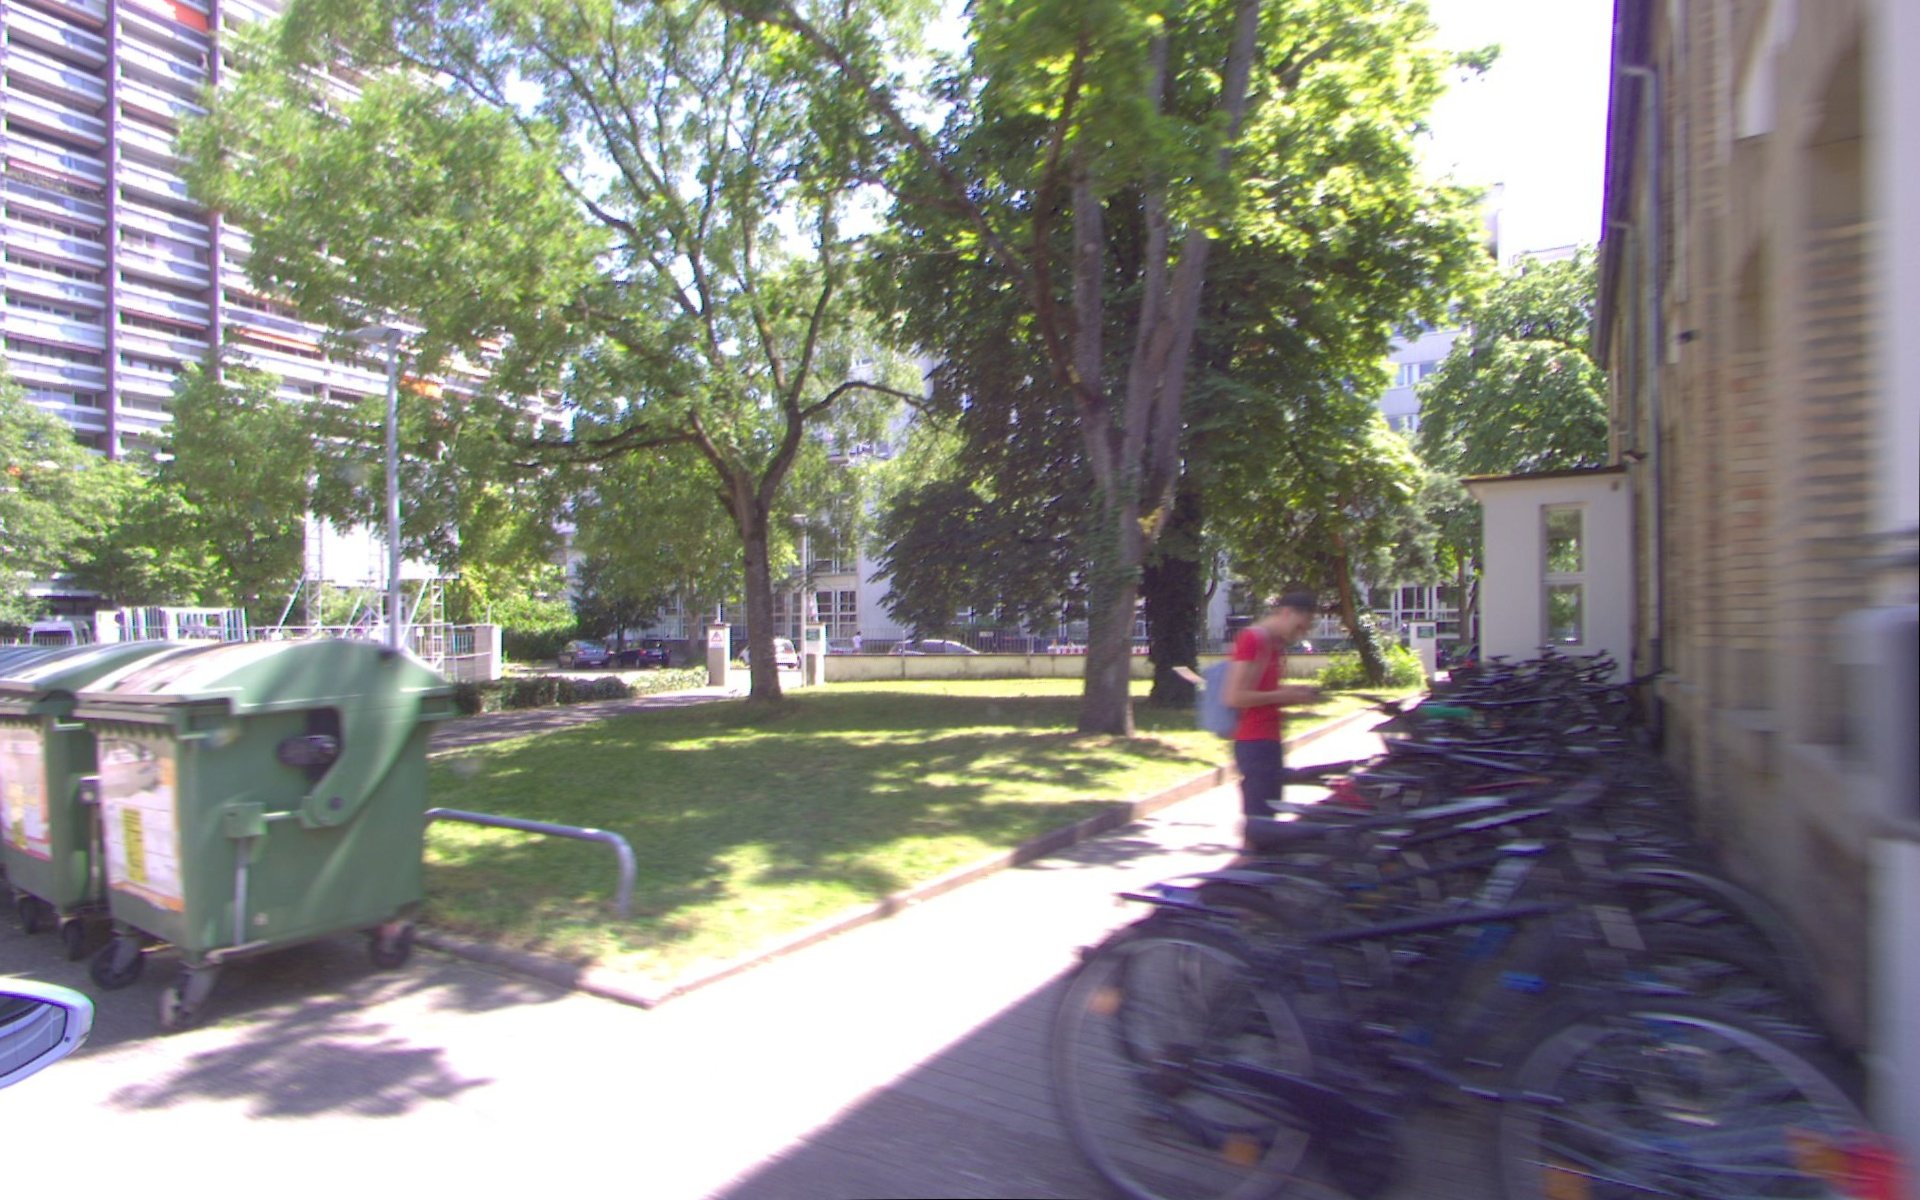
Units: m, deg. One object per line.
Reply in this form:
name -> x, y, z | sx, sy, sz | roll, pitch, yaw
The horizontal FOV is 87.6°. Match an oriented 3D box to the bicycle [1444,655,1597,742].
bicycle -> 7.663, 1.322, 13.738 | 1.801, 1.116, 0.404 | -2, -1, 33

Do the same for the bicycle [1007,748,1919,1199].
bicycle -> 0.990, 0.963, 2.274 | 1.801, 1.116, 0.404 | -2, -1, 33

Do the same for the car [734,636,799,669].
car -> -9.939, 2.681, 51.200 | 1.652, 1.610, 3.660 | 1, -2, -42

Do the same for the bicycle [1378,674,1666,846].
bicycle -> 4.090, 1.124, 7.394 | 1.801, 1.116, 0.404 | -2, -1, 33

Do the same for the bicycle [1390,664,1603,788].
bicycle -> 5.241, 1.194, 9.849 | 1.801, 1.116, 0.404 | -2, -1, 33

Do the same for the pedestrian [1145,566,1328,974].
pedestrian -> 1.319, 0.751, 4.770 | 0.680, 1.771, 0.549 | -1, -1, 34

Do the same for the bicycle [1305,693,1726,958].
bicycle -> 2.745, 1.062, 5.114 | 1.801, 1.116, 0.404 | -2, -1, 33

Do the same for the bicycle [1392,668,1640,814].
bicycle -> 4.689, 1.156, 8.533 | 1.801, 1.116, 0.404 | -2, -1, 33

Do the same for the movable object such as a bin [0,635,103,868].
movable object such as a bin -> -6.660, 0.981, 6.713 | 1.358, 1.476, 1.073 | -2, -2, 34

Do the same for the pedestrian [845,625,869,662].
pedestrian -> -5.757, 2.425, 56.063 | 0.867, 2.039, 0.989 | -2, -1, 40

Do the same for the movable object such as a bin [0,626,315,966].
movable object such as a bin -> -4.245, 0.884, 5.195 | 1.358, 1.476, 1.073 | -2, -2, 34

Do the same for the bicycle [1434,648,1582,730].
bicycle -> 7.926, 1.303, 14.522 | 1.802, 1.115, 0.404 | -5, -3, 33

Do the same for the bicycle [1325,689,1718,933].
bicycle -> 2.988, 1.072, 5.481 | 1.801, 1.116, 0.404 | -2, -1, 33

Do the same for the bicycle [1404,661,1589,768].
bicycle -> 6.043, 1.260, 11.338 | 1.801, 1.116, 0.404 | -2, -1, 33

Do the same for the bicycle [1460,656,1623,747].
bicycle -> 7.573, 1.301, 13.090 | 1.801, 1.116, 0.404 | -2, -1, 33

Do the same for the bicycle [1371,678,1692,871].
bicycle -> 3.751, 1.104, 6.693 | 1.801, 1.116, 0.404 | -2, -1, 33

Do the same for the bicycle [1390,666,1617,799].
bicycle -> 4.980, 1.177, 9.251 | 1.801, 1.116, 0.404 | -2, -1, 33

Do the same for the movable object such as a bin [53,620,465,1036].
movable object such as a bin -> -3.066, 0.842, 4.398 | 1.358, 1.476, 1.073 | -2, -2, 34

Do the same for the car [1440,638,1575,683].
car -> 17.783, 1.957, 32.631 | 3.461, 1.359, 1.654 | -1, -2, 6

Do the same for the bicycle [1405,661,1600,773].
bicycle -> 5.792, 1.218, 10.749 | 1.801, 1.116, 0.404 | -2, -1, 33

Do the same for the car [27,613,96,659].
car -> -47.888, 1.924, 53.453 | 2.164, 2.287, 4.837 | 0, -2, -35

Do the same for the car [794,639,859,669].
car -> -6.788, 2.712, 50.669 | 1.650, 1.433, 3.683 | 1, -2, -38

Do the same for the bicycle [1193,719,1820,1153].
bicycle -> 1.753, 1.018, 3.471 | 1.801, 1.116, 0.404 | -2, -1, 33

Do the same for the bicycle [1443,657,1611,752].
bicycle -> 7.119, 1.291, 12.631 | 1.801, 1.116, 0.404 | -2, -1, 33

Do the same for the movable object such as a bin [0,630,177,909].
movable object such as a bin -> -5.518, 0.924, 5.898 | 1.358, 1.476, 1.073 | -2, -2, 34

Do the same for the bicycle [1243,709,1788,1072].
bicycle -> 2.084, 1.031, 3.982 | 1.801, 1.116, 0.404 | -2, -1, 33

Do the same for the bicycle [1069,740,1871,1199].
bicycle -> 1.197, 0.998, 2.697 | 1.801, 1.116, 0.404 | -2, -1, 33

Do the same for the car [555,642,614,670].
car -> -19.300, 2.838, 51.400 | 1.896, 1.327, 3.904 | 0, -2, -35

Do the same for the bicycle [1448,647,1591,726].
bicycle -> 8.408, 1.316, 15.088 | 1.802, 1.115, 0.404 | -5, -3, 33

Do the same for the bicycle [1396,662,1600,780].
bicycle -> 5.506, 1.207, 10.314 | 1.801, 1.116, 0.404 | -2, -1, 33

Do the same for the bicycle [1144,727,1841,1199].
bicycle -> 1.499, 1.009, 3.114 | 1.801, 1.116, 0.404 | -2, -1, 33

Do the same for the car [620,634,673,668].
car -> -16.164, 2.578, 51.564 | 1.987, 1.650, 3.915 | 0, -2, -27

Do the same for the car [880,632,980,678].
car -> -0.993, 1.875, 34.282 | 3.267, 1.498, 1.433 | -1, -1, 4

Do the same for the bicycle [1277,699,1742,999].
bicycle -> 2.440, 1.049, 4.631 | 1.801, 1.116, 0.404 | -2, -1, 33

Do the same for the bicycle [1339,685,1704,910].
bicycle -> 3.212, 1.083, 5.871 | 1.801, 1.116, 0.404 | -2, -1, 33

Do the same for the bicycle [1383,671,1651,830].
bicycle -> 4.344, 1.139, 7.910 | 1.801, 1.116, 0.404 | -2, -1, 33

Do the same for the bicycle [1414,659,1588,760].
bicycle -> 6.445, 1.277, 11.983 | 1.801, 1.116, 0.404 | -2, -1, 33
